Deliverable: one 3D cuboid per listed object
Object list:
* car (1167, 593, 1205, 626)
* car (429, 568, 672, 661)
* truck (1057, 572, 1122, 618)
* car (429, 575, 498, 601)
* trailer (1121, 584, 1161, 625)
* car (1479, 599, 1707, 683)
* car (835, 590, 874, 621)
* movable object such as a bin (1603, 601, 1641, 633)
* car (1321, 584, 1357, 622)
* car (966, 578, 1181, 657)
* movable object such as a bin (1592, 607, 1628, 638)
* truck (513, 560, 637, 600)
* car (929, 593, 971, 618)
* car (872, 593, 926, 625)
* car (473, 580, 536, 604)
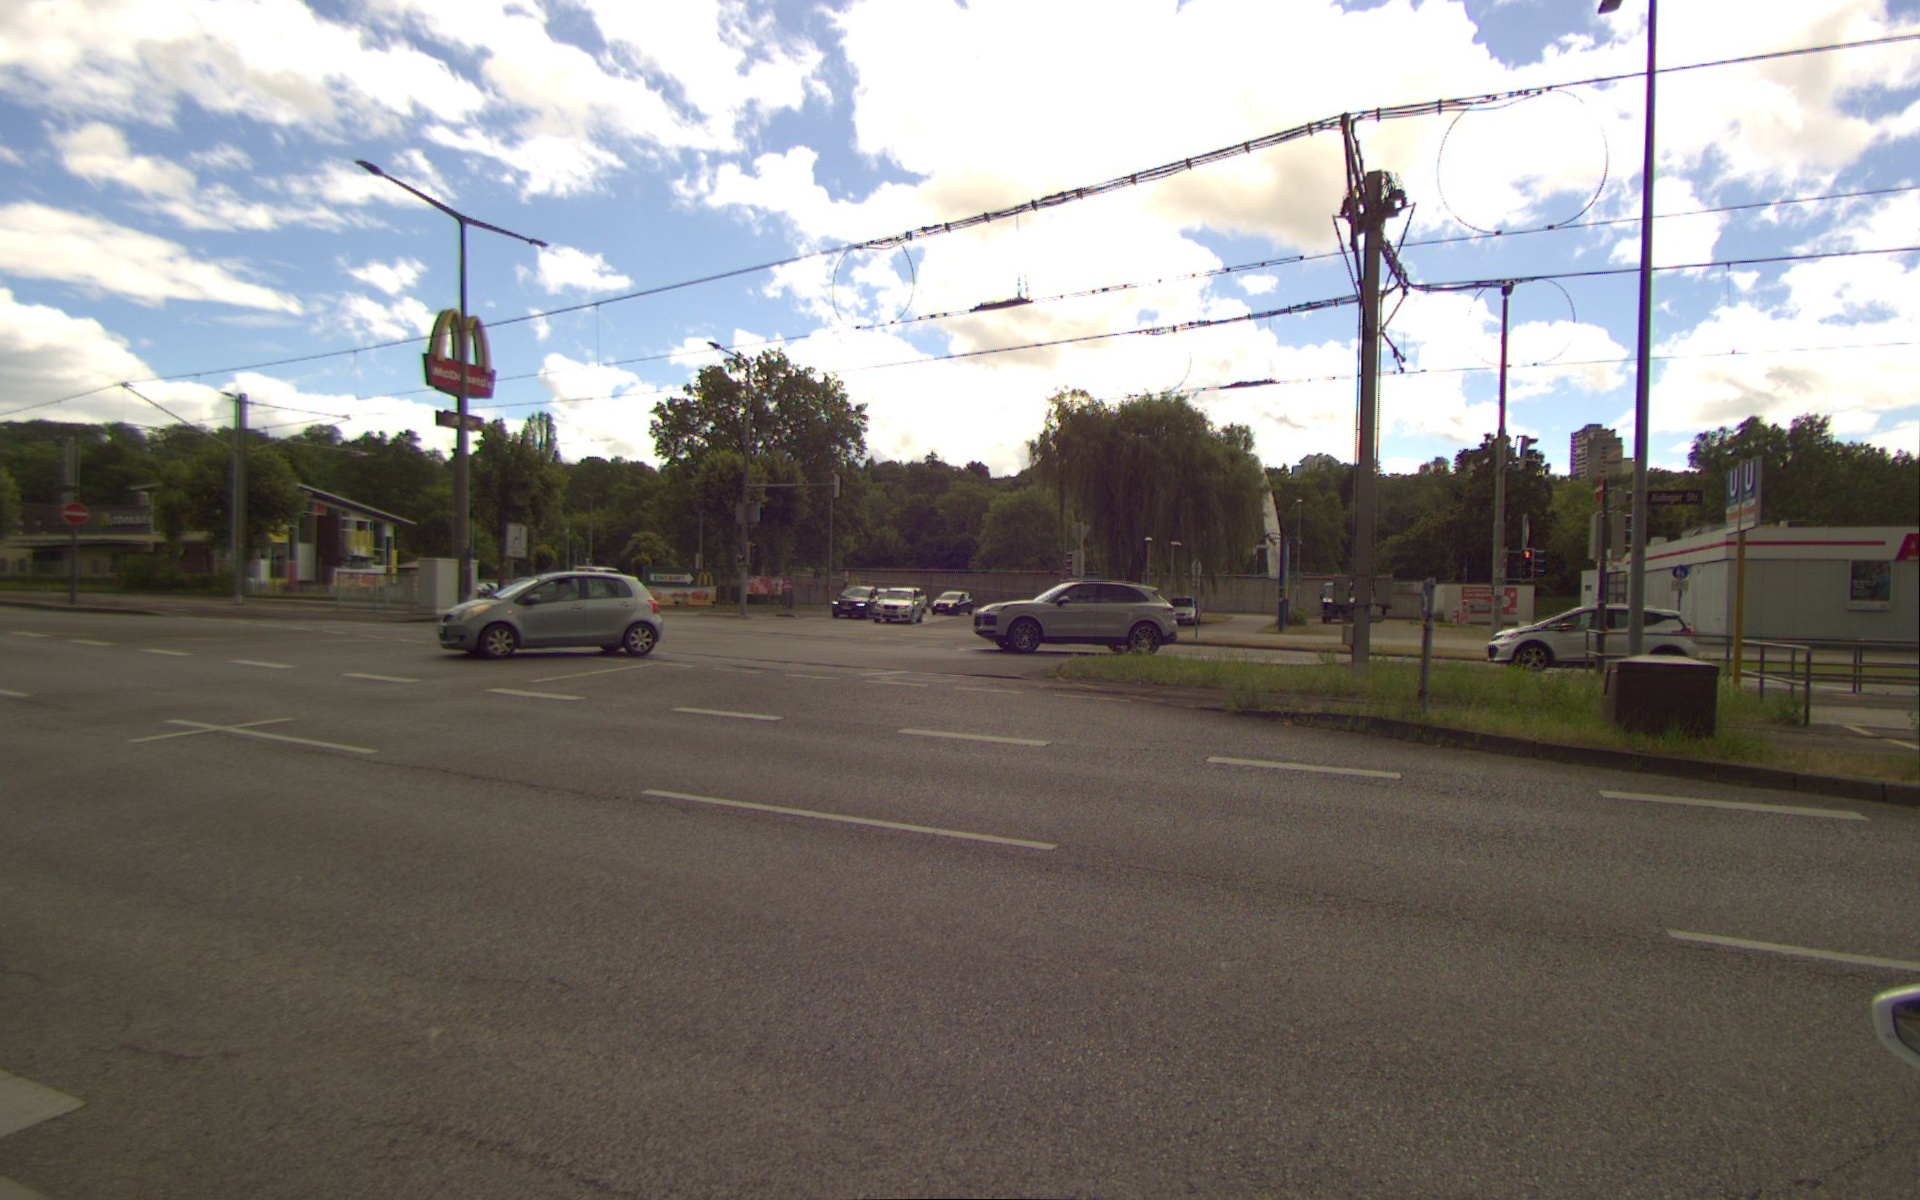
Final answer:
[{"bbox_3d":[12.983,0.531,57.574,1.720,1.766,3.857,2,1,19],"label":"car"},{"bbox_3d":[-7.302,0.248,18.049,3.753,1.507,1.659,1,1,-37],"label":"car"},{"bbox_3d":[7.660,-0.283,58.937,2.340,2.527,5.823,2,1,22],"label":"truck"},{"bbox_3d":[-32.708,-0.797,66.146,3.923,1.541,1.924,2,0,23],"label":"car"},{"bbox_3d":[10.758,0.325,59.600,1.529,2.288,4.392,2,0,20],"label":"trailer"},{"bbox_3d":[14.258,0.866,22.895,4.043,1.663,1.750,2,1,20],"label":"car"},{"bbox_3d":[-5.472,0.270,51.769,1.764,1.451,3.635,1,1,-9],"label":"car"},{"bbox_3d":[32.086,0.832,48.694,1.347,1.514,1.103,2,0,27],"label":"movable object such as a bin"},{"bbox_3d":[22.077,0.196,58.640,1.810,2.079,4.382,2,-1,20],"label":"car"},{"bbox_3d":[2.625,0.405,23.717,4.766,1.664,1.674,2,1,-8],"label":"car"},{"bbox_3d":[32.673,1.136,50.532,1.347,1.503,1.103,2,0,27],"label":"movable object such as a bin"},{"bbox_3d":[-20.964,-1.090,54.730,6.076,1.930,2.601,2,0,20],"label":"truck"},{"bbox_3d":[-0.615,0.320,63.775,1.760,1.451,4.286,2,1,12],"label":"car"},{"bbox_3d":[-2.911,0.410,49.131,1.760,1.451,4.420,2,1,8],"label":"car"},{"bbox_3d":[-32.181,-0.559,70.972,3.923,1.549,1.781,2,0,23],"label":"car"}]
